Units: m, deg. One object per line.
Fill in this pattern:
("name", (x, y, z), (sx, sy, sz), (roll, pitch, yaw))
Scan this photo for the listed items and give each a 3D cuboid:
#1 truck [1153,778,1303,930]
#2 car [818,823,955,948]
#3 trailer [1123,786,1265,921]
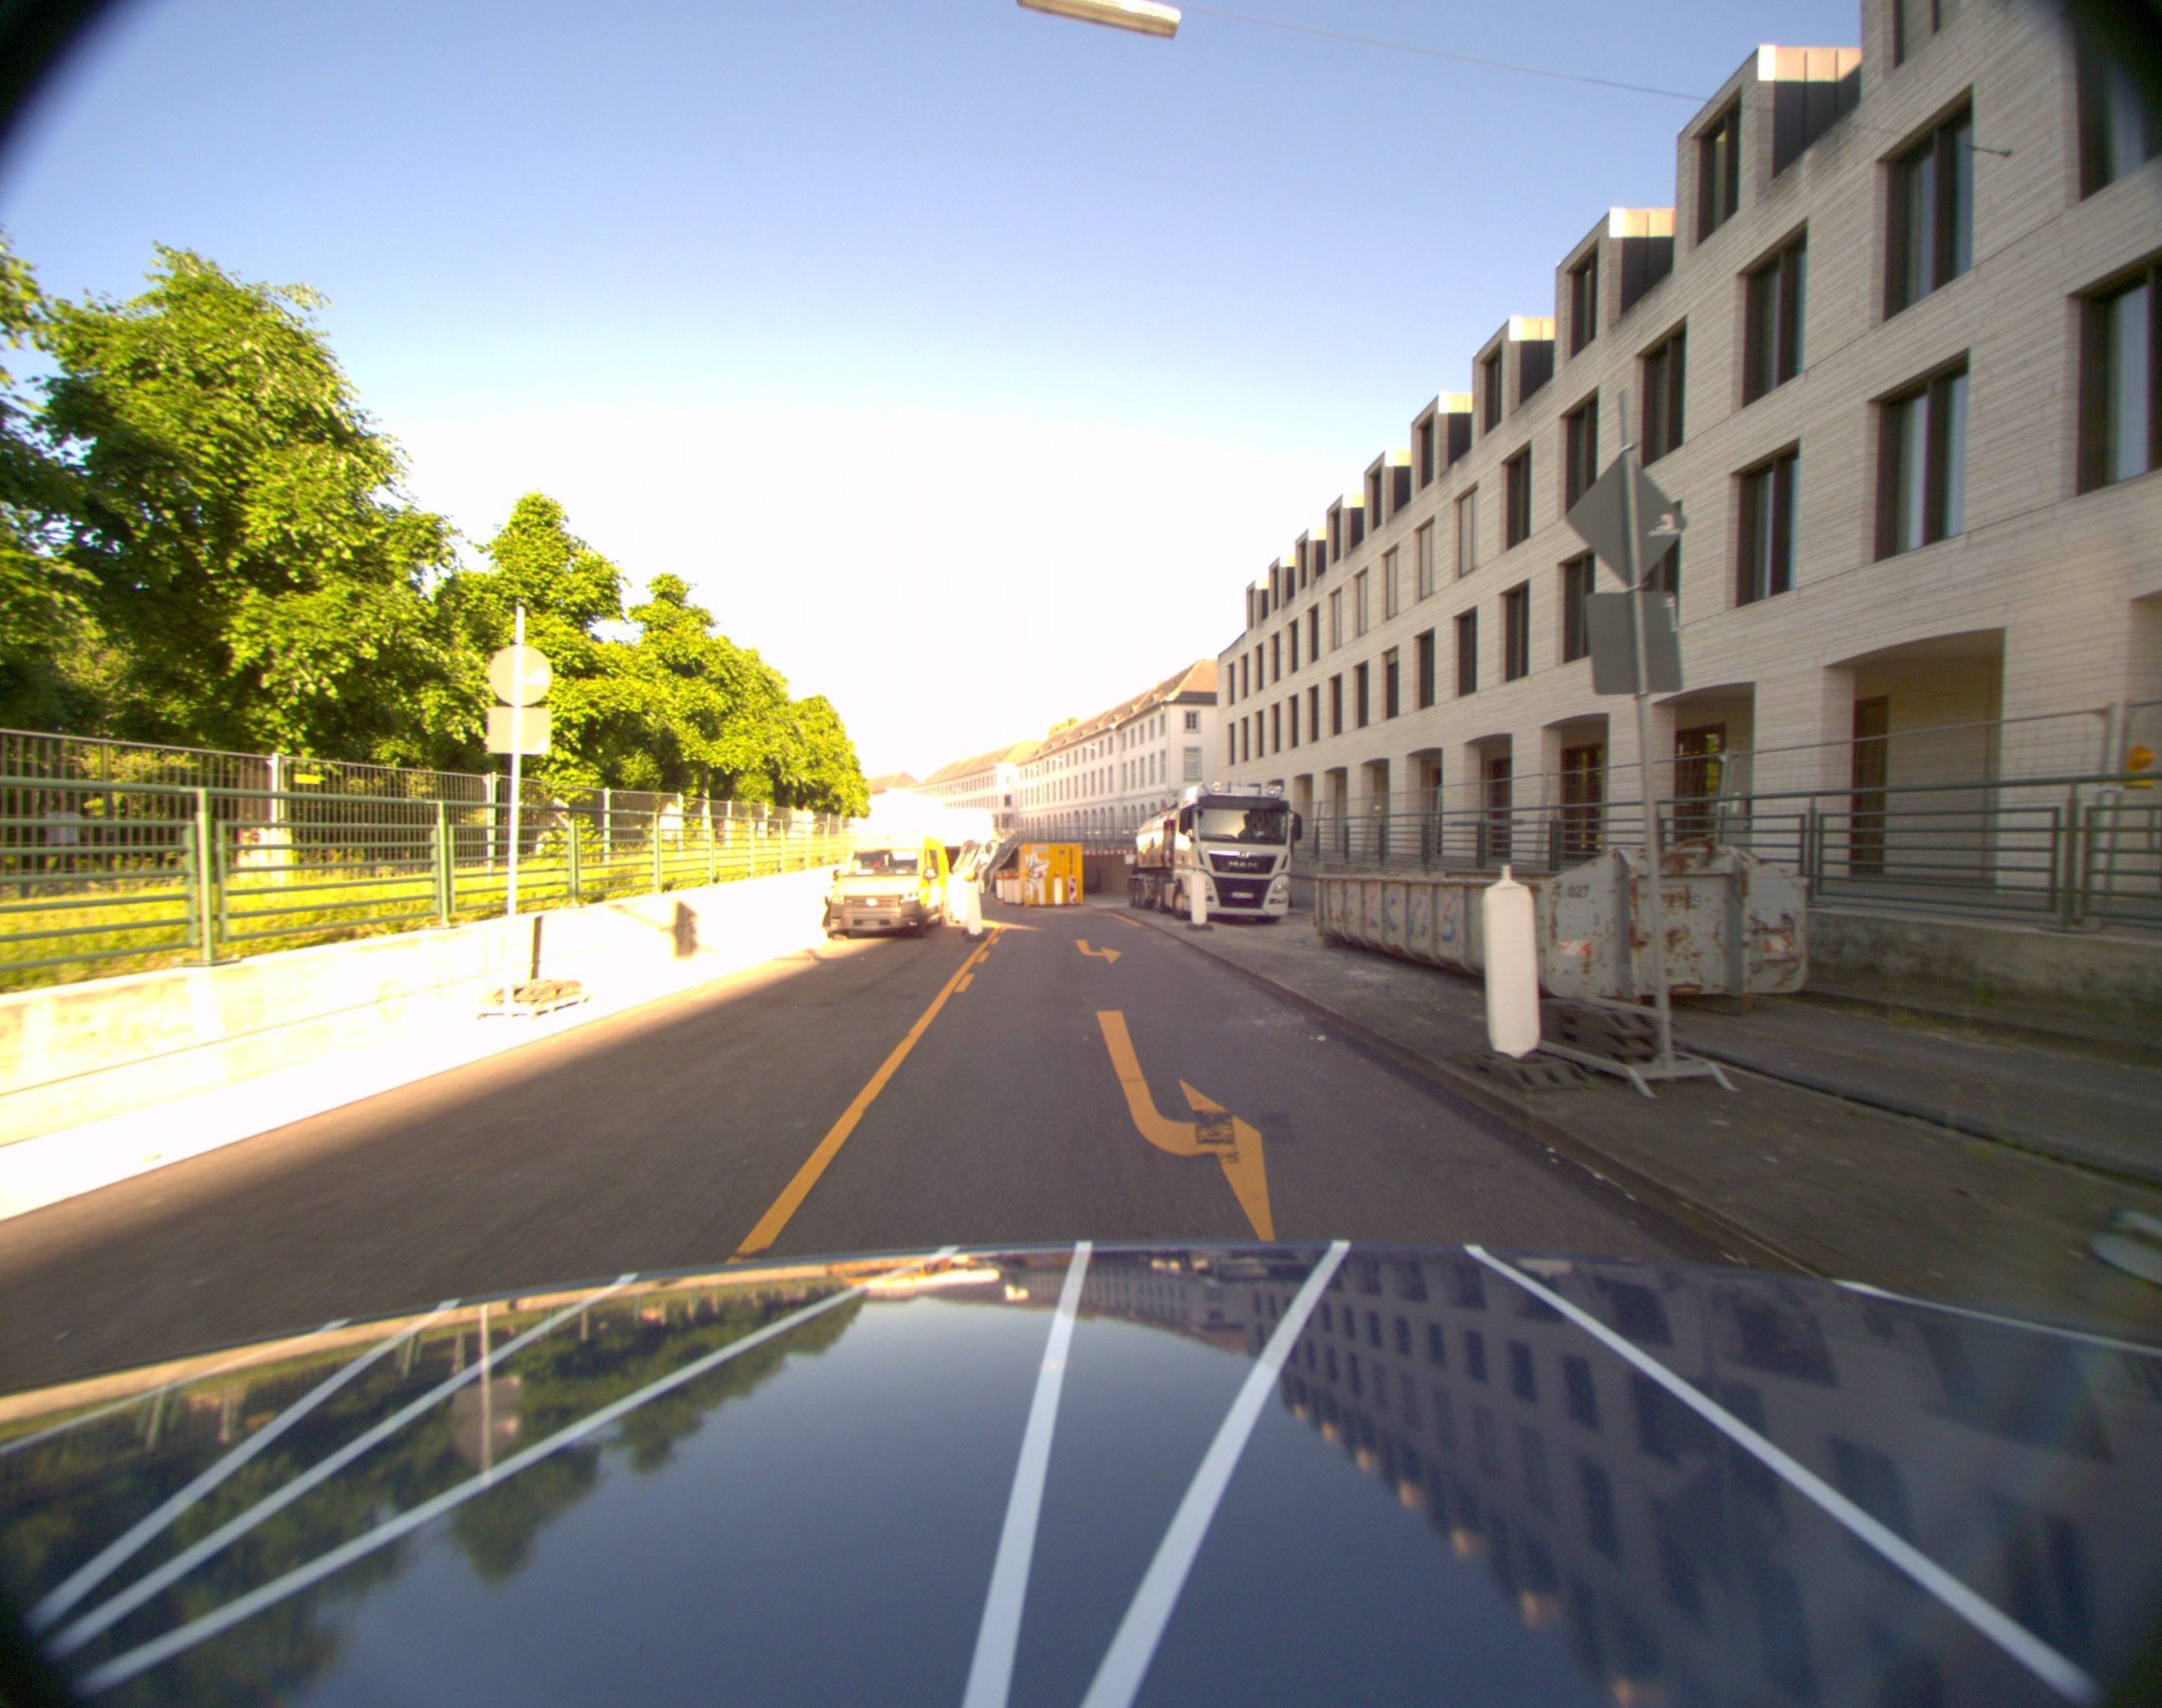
("truck", (3.737, 0.065, 20.777), (2.587, 3.468, 5.815), (3, -1, -3))
("car", (-4.673, 0.704, 19.483), (2.118, 2.609, 6.985), (-1, -1, -4))
("trailer", (3.406, 0.055, 25.608), (2.650, 3.647, 8.746), (3, -1, -5))
